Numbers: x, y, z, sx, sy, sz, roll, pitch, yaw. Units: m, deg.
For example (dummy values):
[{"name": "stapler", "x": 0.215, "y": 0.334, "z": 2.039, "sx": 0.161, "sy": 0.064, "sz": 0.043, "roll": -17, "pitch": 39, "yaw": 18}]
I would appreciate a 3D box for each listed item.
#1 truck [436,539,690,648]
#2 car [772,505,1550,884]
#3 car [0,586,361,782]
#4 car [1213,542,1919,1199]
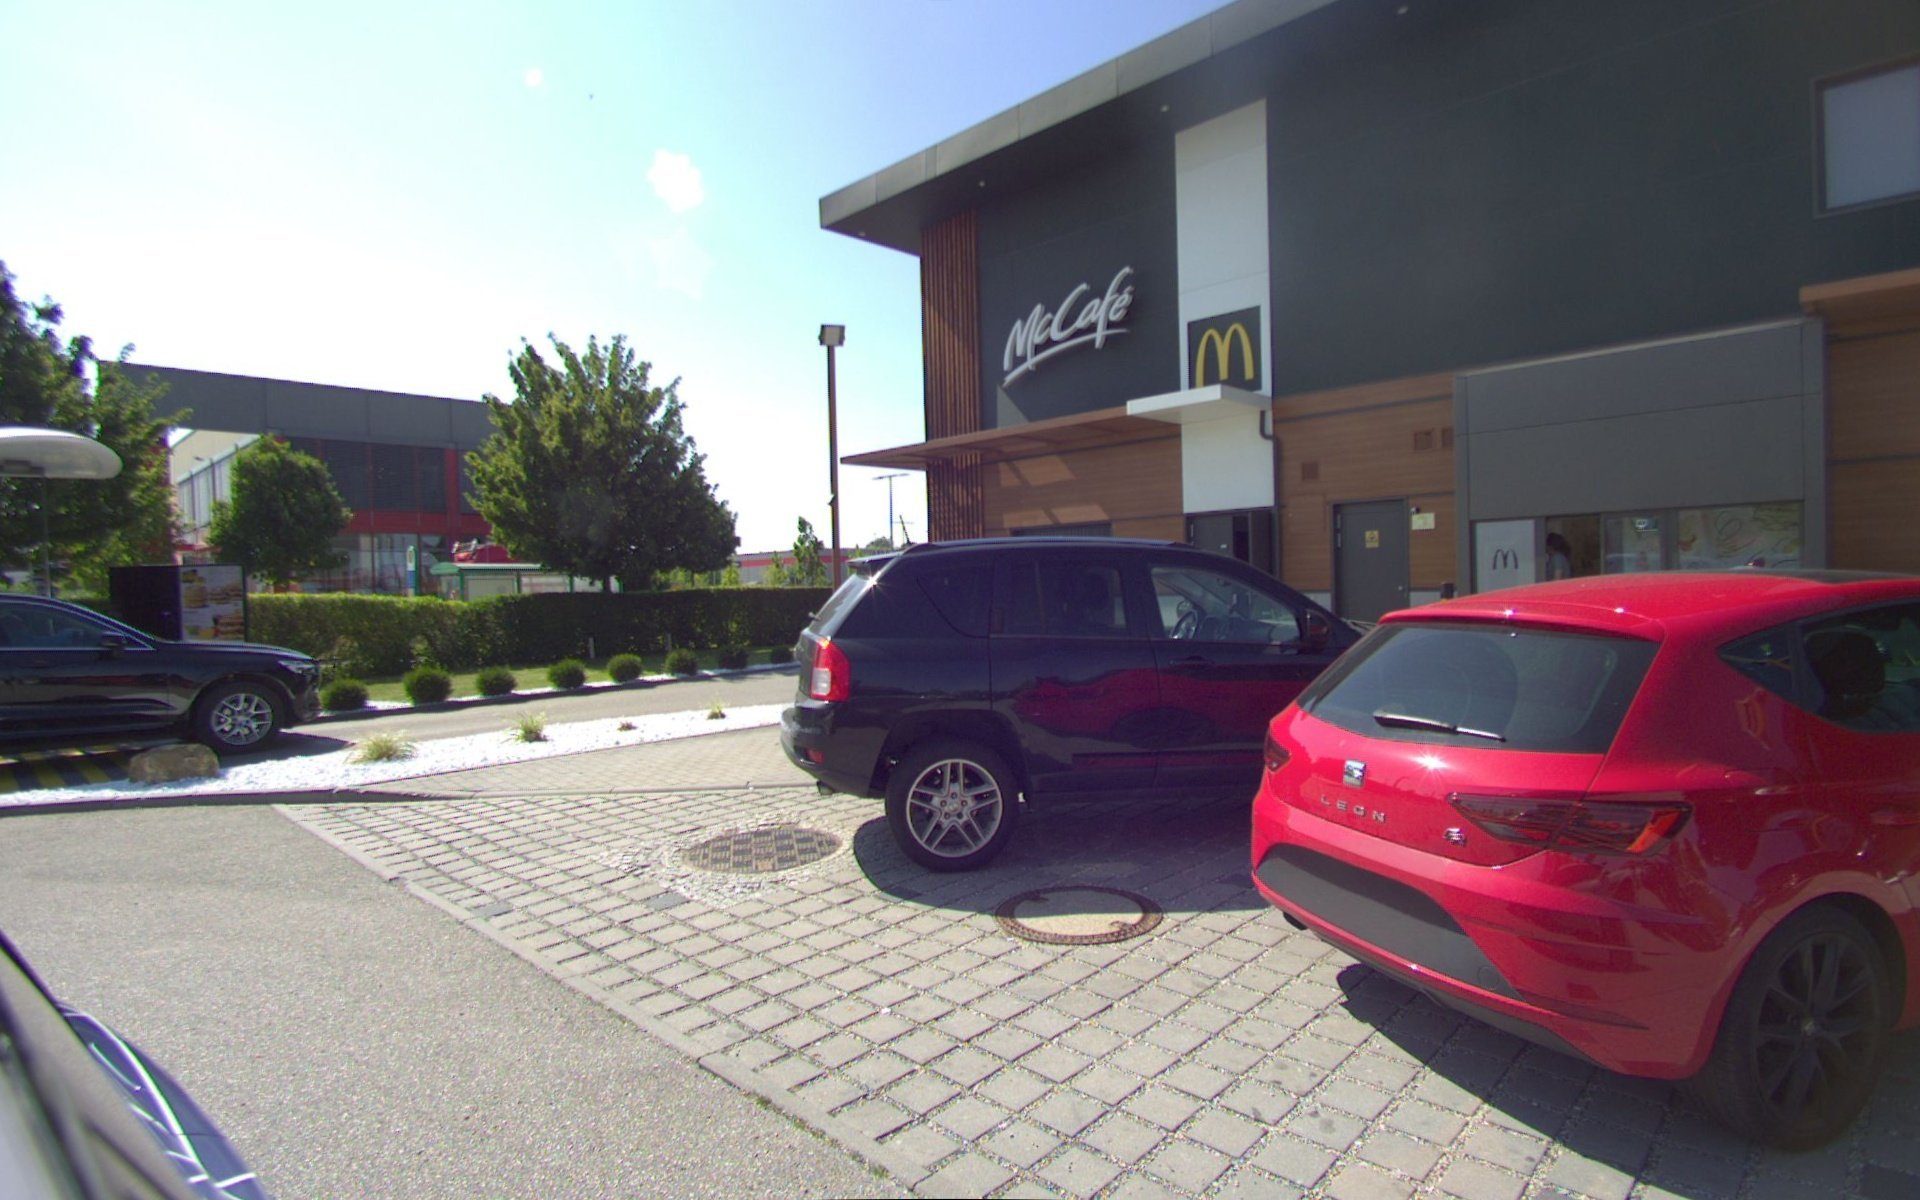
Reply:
[{"name": "truck", "x": -15.729, "y": -0.277, "z": 40.819, "sx": 3.211, "sy": 3.895, "sz": 8.999, "roll": -1, "pitch": 0, "yaw": 44}, {"name": "car", "x": 0.986, "y": 0.417, "z": 5.876, "sx": 3.975, "sy": 1.718, "sz": 1.678, "roll": -2, "pitch": 1, "yaw": -8}, {"name": "car", "x": -8.662, "y": 0.728, "z": 9.383, "sx": 1.924, "sy": 1.642, "sz": 4.994, "roll": -1, "pitch": 0, "yaw": 42}, {"name": "car", "x": 2.980, "y": 0.559, "z": 3.492, "sx": 3.708, "sy": 1.455, "sz": 1.680, "roll": -2, "pitch": 0, "yaw": -18}]
